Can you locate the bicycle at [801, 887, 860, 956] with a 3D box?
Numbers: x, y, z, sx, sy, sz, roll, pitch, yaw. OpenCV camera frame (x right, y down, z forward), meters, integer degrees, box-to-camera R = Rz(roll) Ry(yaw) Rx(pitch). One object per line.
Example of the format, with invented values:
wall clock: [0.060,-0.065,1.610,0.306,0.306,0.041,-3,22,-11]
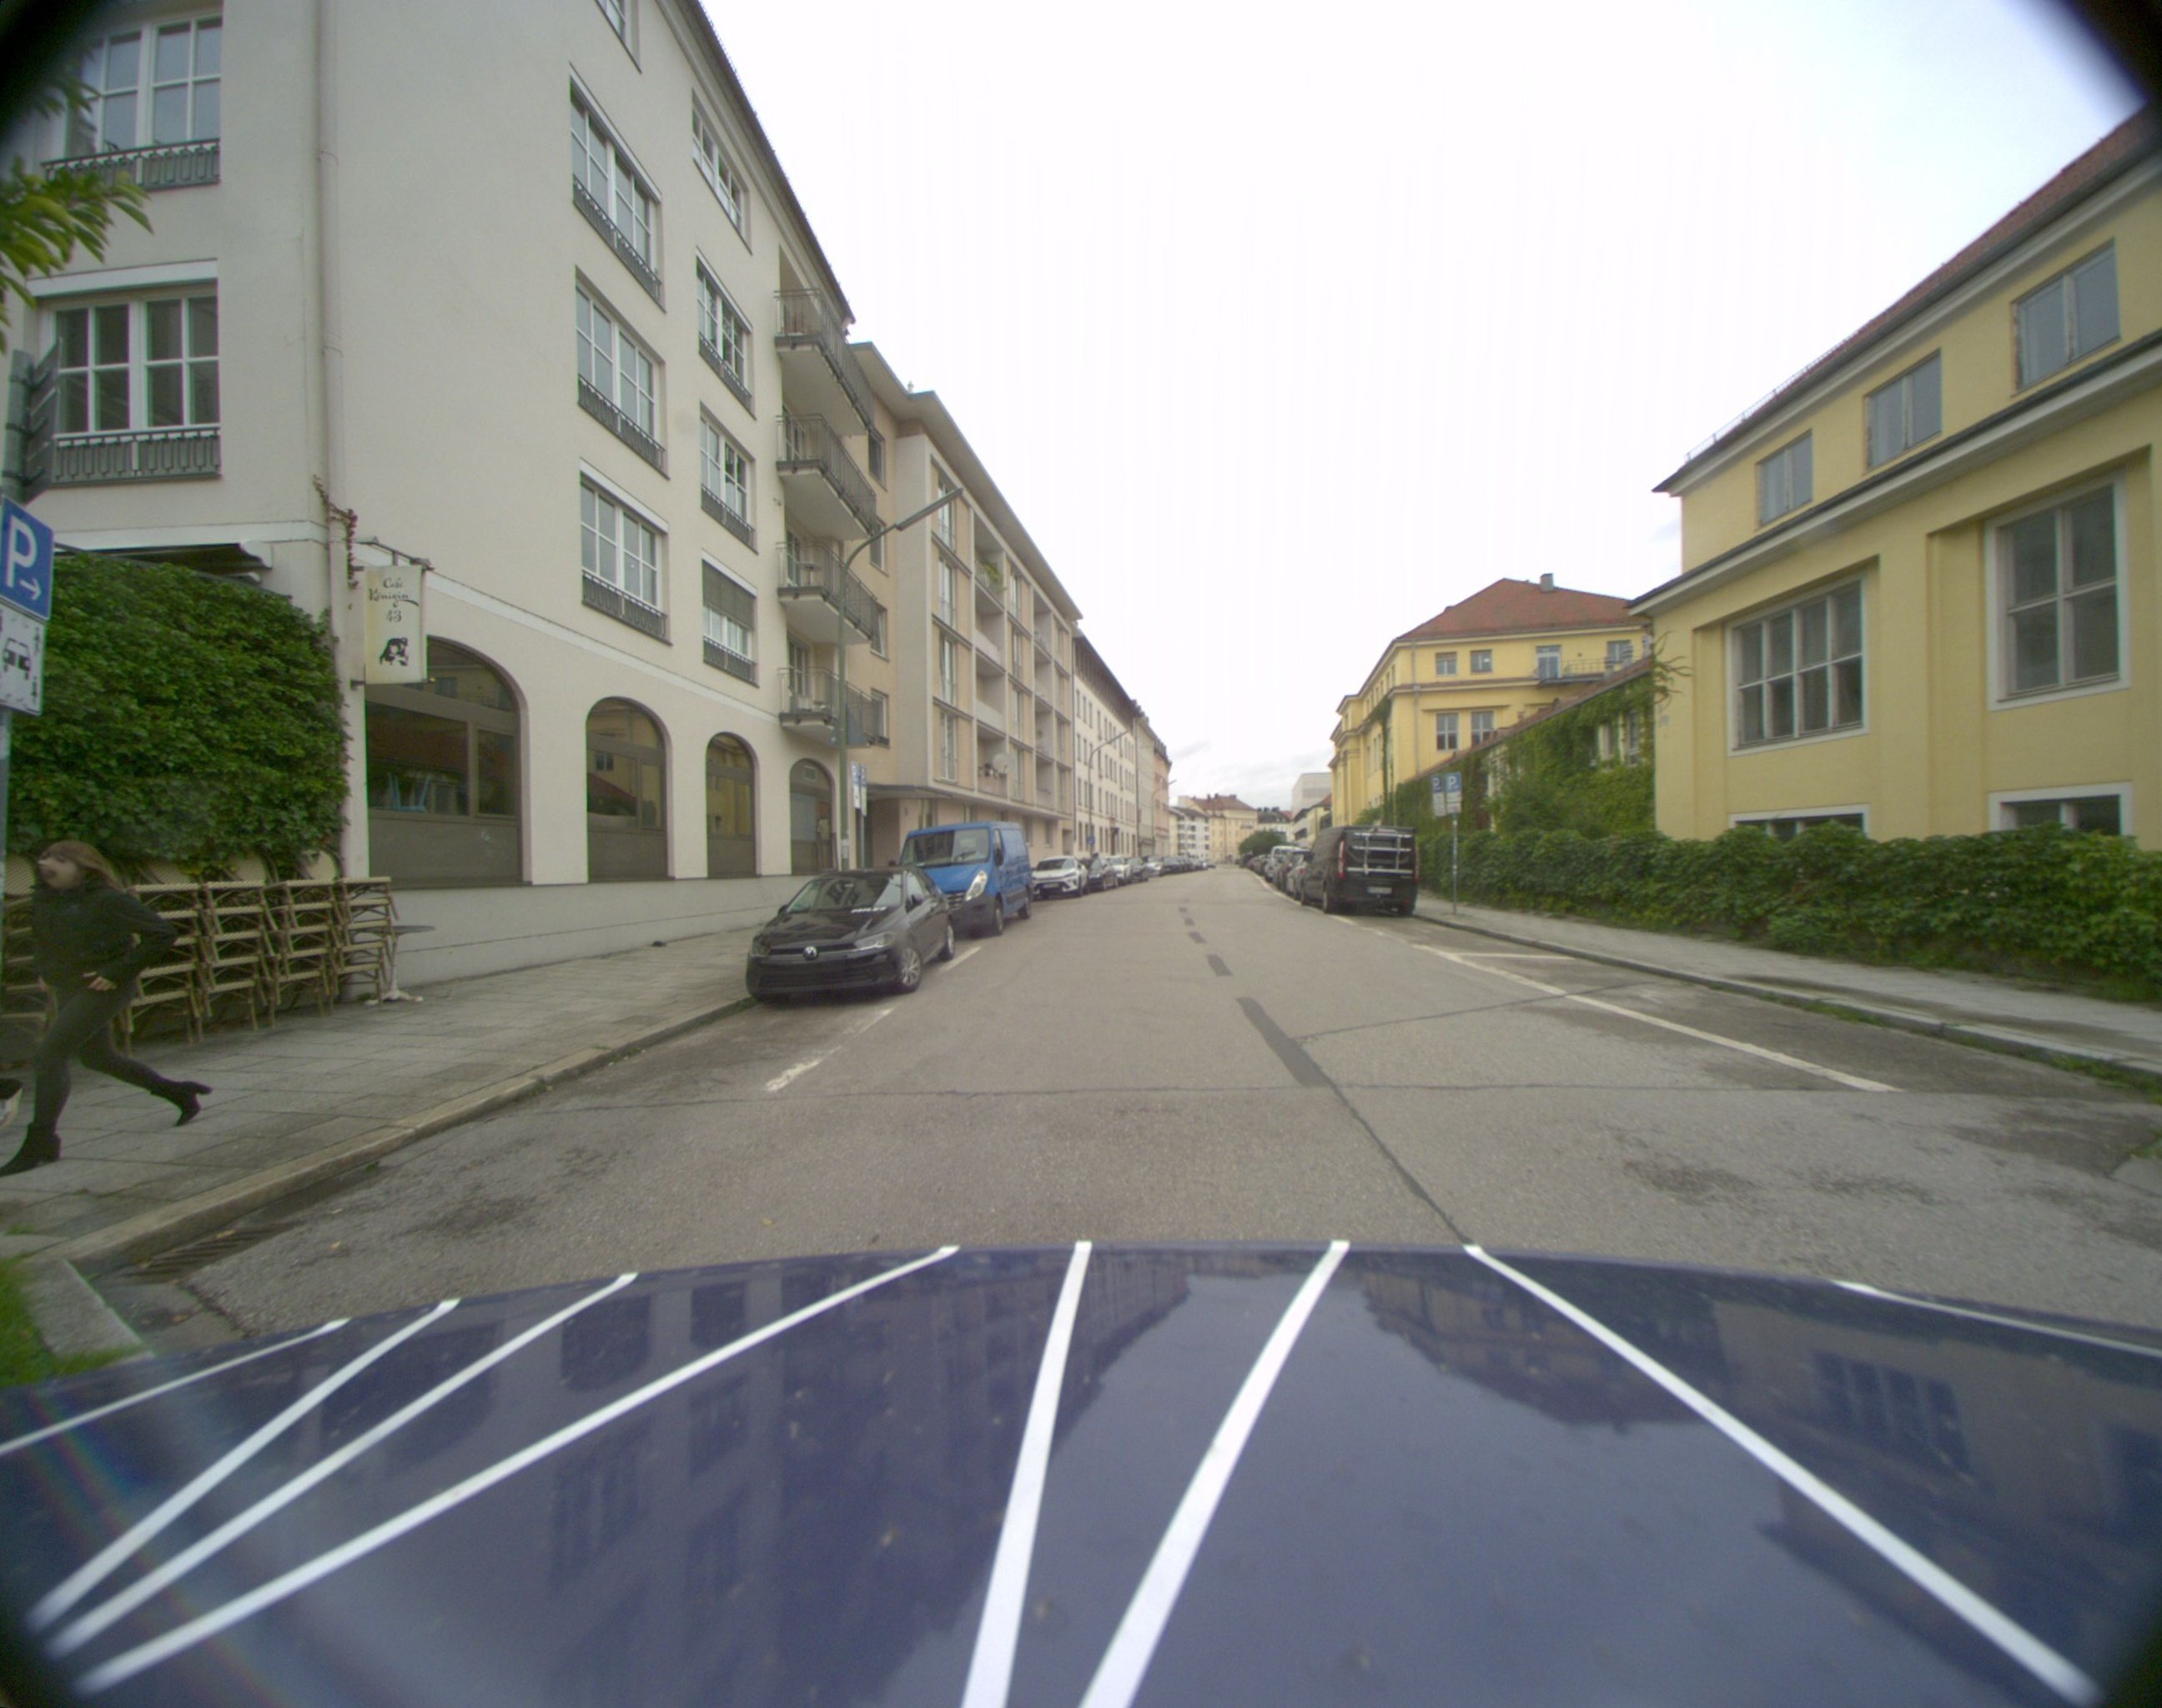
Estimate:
bicycle: [-4.339,1.134,13.257,0.566,1.063,1.786,-1,0,-5]

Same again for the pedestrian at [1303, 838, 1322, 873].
pedestrian: [11.920,0.070,39.092,0.844,1.744,0.873,-1,0,13]

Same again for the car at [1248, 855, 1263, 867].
car: [23.162,0.891,101.013,1.772,1.545,4.214,2,0,12]

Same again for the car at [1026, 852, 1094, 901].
car: [-0.674,0.781,27.395,1.779,1.513,4.306,-5,-1,6]

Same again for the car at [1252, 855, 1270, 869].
car: [19.628,0.870,82.849,1.736,1.431,3.783,2,0,12]

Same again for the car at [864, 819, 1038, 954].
car: [-2.435,0.510,15.882,2.113,2.201,5.029,-5,1,6]

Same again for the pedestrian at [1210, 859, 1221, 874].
pedestrian: [26.491,2.416,149.589,1.928,2.933,2.027,0,0,12]

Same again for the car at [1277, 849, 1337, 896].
car: [8.601,0.675,29.270,1.705,1.597,4.495,3,0,11]

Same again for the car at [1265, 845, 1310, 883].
car: [10.742,0.504,39.736,1.896,1.788,4.885,4,0,12]

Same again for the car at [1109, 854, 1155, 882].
car: [2.899,0.771,42.069,1.830,1.373,4.495,-3,-1,12]

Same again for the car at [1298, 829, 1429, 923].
car: [6.804,0.487,18.870,1.929,1.967,4.625,2,0,6]

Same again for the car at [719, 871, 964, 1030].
car: [-2.713,1.014,9.638,1.719,1.386,4.000,-4,0,0]

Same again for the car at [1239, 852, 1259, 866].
car: [30.267,0.881,137.295,2.845,2.536,6.896,0,0,6]

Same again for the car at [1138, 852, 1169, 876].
car: [5.100,0.672,53.123,1.617,1.507,3.383,-5,-1,13]

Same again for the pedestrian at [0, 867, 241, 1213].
pedestrian: [-5.272,0.893,4.022,0.680,1.619,0.829,0,1,2]

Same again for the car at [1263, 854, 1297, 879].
car: [11.821,0.732,45.296,1.669,1.401,3.562,2,0,11]

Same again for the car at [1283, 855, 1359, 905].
car: [7.543,0.785,24.196,1.709,1.357,4.005,3,0,10]

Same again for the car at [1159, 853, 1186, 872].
car: [7.515,0.711,62.203,1.876,1.439,4.704,-2,-1,11]

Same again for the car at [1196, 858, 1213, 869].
car: [17.617,1.347,108.192,1.999,1.563,4.495,-3,-1,12]

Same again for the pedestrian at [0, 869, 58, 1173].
pedestrian: [-6.106,0.886,3.805,0.808,1.597,0.830,0,1,3]

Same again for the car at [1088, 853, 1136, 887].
car: [1.609,0.733,37.516,1.705,1.460,4.123,-5,-1,10]

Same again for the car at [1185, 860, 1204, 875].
car: [12.845,1.517,86.116,1.767,1.531,4.004,-4,-1,12]

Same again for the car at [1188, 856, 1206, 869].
car: [14.096,1.014,92.482,1.723,1.457,4.197,-3,-1,13]

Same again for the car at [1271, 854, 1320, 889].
car: [9.685,0.737,34.558,1.806,1.370,4.495,4,1,12]

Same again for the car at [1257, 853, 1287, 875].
car: [13.688,0.701,54.681,1.720,1.472,4.224,3,0,11]

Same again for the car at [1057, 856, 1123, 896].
car: [0.483,0.869,32.245,1.775,1.420,4.698,-5,-1,12]
